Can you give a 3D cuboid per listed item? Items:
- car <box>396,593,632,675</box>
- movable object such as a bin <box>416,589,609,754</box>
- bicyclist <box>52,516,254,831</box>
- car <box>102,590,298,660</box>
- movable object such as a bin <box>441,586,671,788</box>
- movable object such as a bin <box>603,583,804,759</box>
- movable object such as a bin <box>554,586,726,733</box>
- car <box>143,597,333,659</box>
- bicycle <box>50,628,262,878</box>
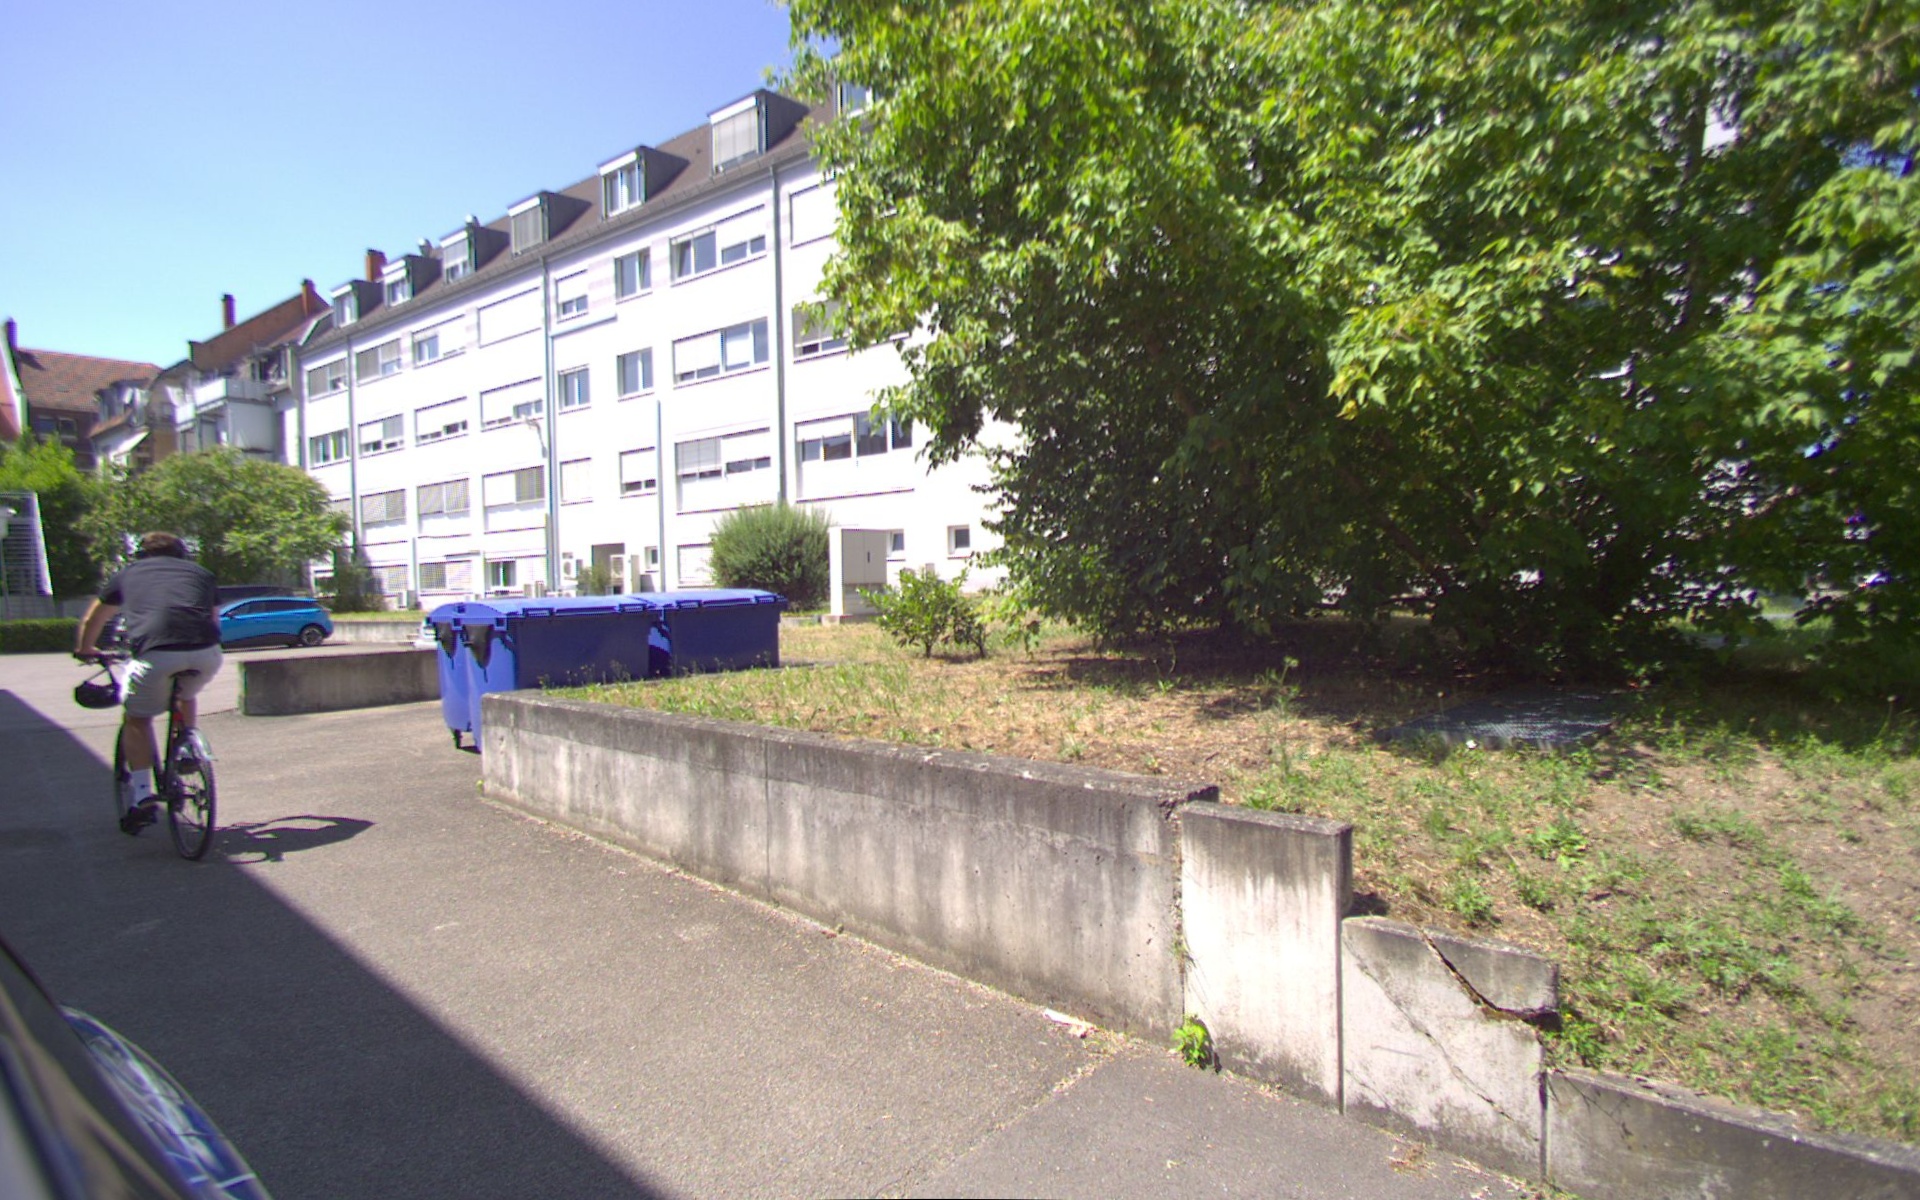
[{"bbox_3d":[-8.736,0.607,20.066,1.709,1.447,3.948,-1,0,39],"label":"car"},{"bbox_3d":[-4.065,0.591,9.214,1.104,1.337,1.240,-1,1,43],"label":"movable object such as a bin"},{"bbox_3d":[-4.630,0.371,5.803,0.978,1.621,0.715,-1,1,42],"label":"bicyclist"},{"bbox_3d":[-22.965,0.694,30.711,1.998,1.845,4.392,0,2,40],"label":"car"},{"bbox_3d":[-3.059,0.591,7.678,1.104,1.337,1.240,-1,1,43],"label":"movable object such as a bin"},{"bbox_3d":[-2.185,0.550,8.648,1.104,1.337,1.240,-1,1,43],"label":"movable object such as a bin"},{"bbox_3d":[-3.221,0.549,10.197,1.104,1.337,1.240,-1,1,43],"label":"movable object such as a bin"},{"bbox_3d":[-20.793,0.750,29.279,1.857,1.565,4.117,-1,1,38],"label":"car"},{"bbox_3d":[-4.721,0.783,5.892,1.904,1.183,0.637,0,1,42],"label":"bicycle"}]
